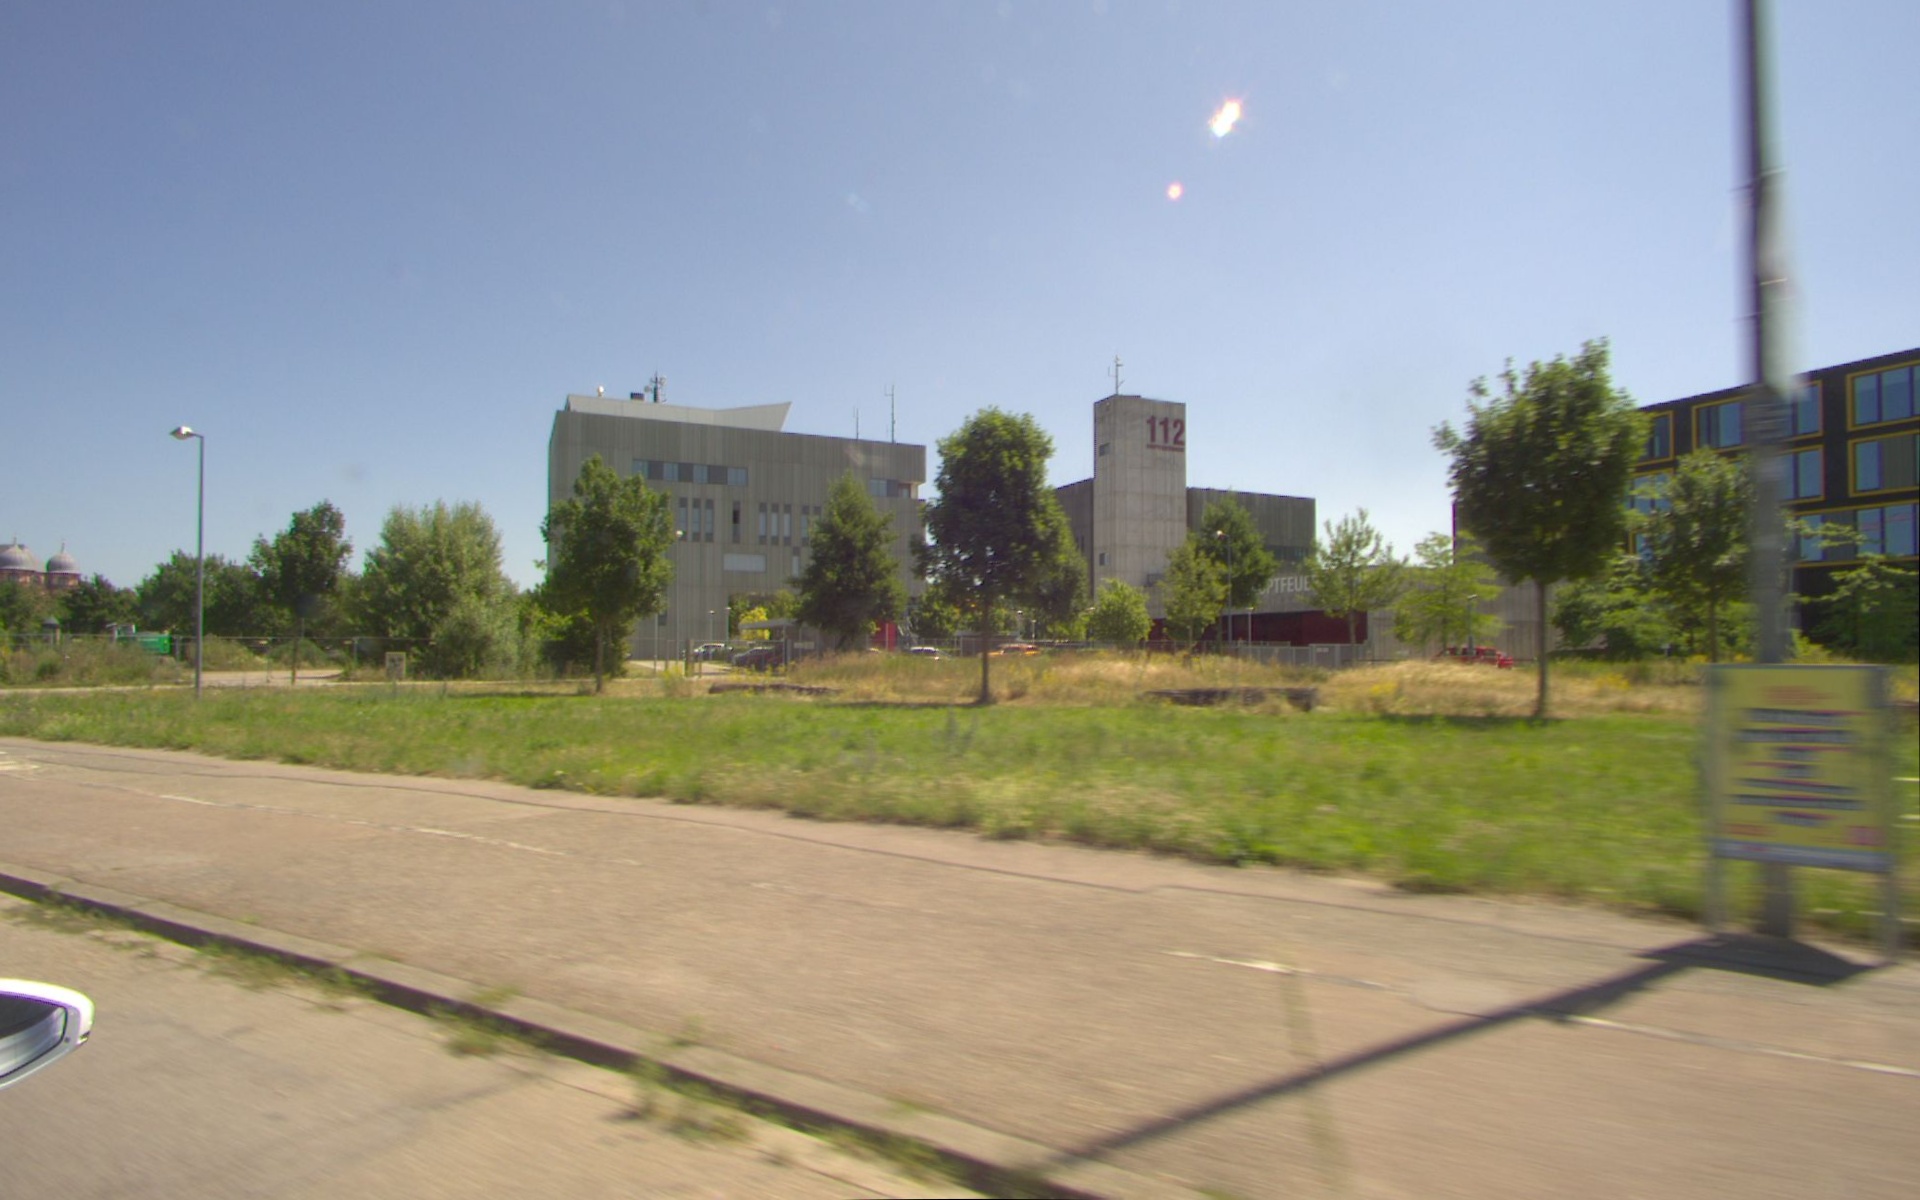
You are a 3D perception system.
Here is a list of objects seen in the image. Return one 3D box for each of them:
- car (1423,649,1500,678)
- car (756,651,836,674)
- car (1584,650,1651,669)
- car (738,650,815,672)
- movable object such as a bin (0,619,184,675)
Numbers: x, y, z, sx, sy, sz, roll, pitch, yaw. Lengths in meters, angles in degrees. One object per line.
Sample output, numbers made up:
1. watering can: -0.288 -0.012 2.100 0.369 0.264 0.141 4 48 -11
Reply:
1. car: 39.232 4.968 78.458 2.201 2.141 5.147 1 -4 -24
2. car: -10.665 4.034 64.935 4.835 1.454 1.996 1 -3 -21
3. car: 55.669 5.027 84.869 1.776 1.529 4.508 1 -3 -27
4. car: -12.972 4.299 70.887 5.002 1.454 1.993 1 -3 -26
5. movable object such as a bin: -55.326 3.044 63.613 10.289 3.300 4.947 -1 -3 21
